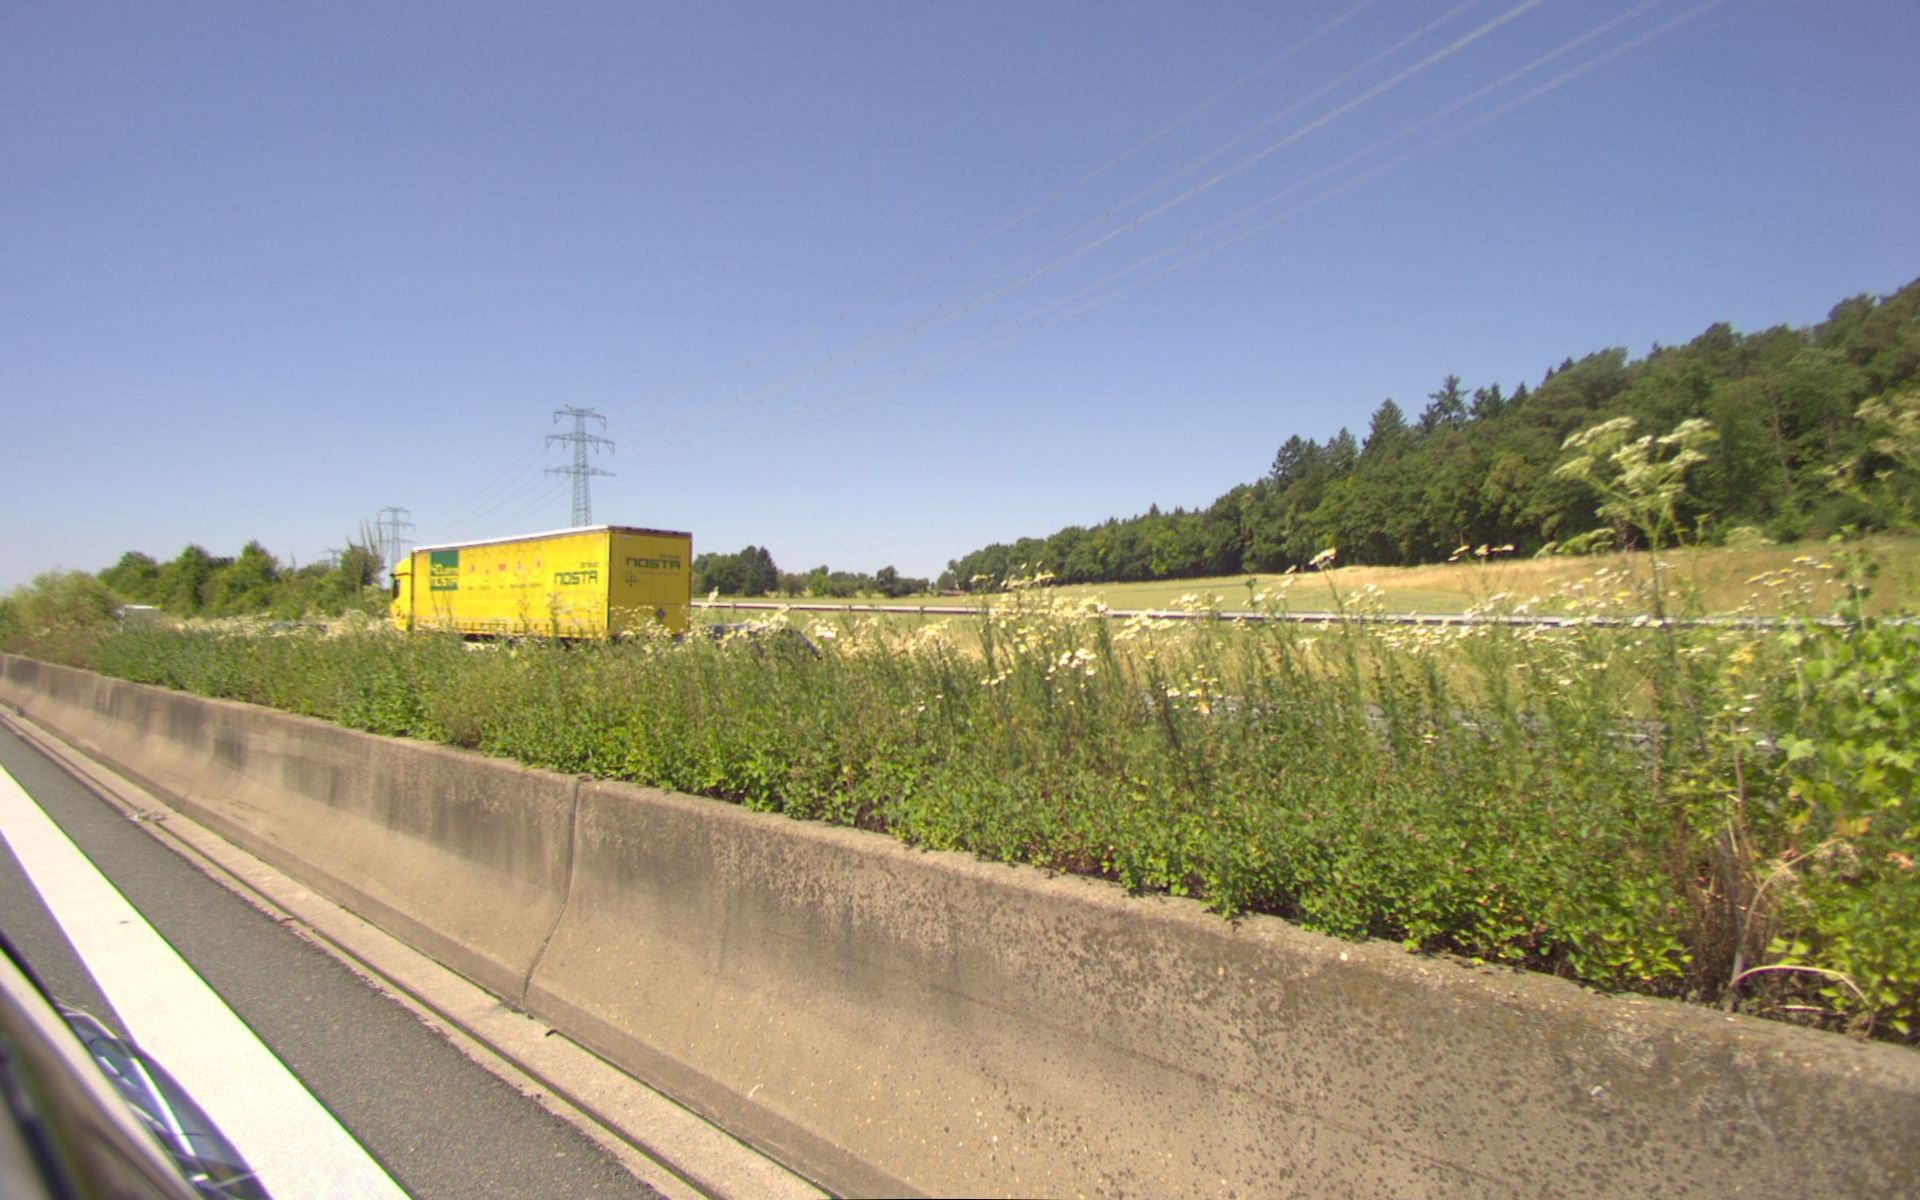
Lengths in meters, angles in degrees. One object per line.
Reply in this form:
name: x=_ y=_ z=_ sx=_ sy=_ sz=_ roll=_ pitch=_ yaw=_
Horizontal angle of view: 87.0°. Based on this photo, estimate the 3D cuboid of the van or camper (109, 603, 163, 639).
van or camper: x=-68.489 y=1.693 z=84.054 sx=7.068 sy=2.859 sz=2.524 roll=0 pitch=1 yaw=43

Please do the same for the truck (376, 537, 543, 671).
truck: x=-17.769 y=0.123 z=35.690 sx=7.324 sy=4.268 sz=2.748 roll=0 pitch=1 yaw=43

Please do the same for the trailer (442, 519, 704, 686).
trailer: x=-11.926 y=0.057 z=30.349 sx=10.684 sy=4.238 sz=2.791 roll=0 pitch=1 yaw=42

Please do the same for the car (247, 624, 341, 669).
car: x=-23.754 y=1.626 z=36.050 sx=4.098 sy=1.476 sz=1.849 roll=-2 pitch=-1 yaw=42

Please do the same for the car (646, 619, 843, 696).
car: x=-3.759 y=0.925 z=17.423 sx=3.340 sy=1.139 sz=1.658 roll=-1 pitch=0 yaw=41
